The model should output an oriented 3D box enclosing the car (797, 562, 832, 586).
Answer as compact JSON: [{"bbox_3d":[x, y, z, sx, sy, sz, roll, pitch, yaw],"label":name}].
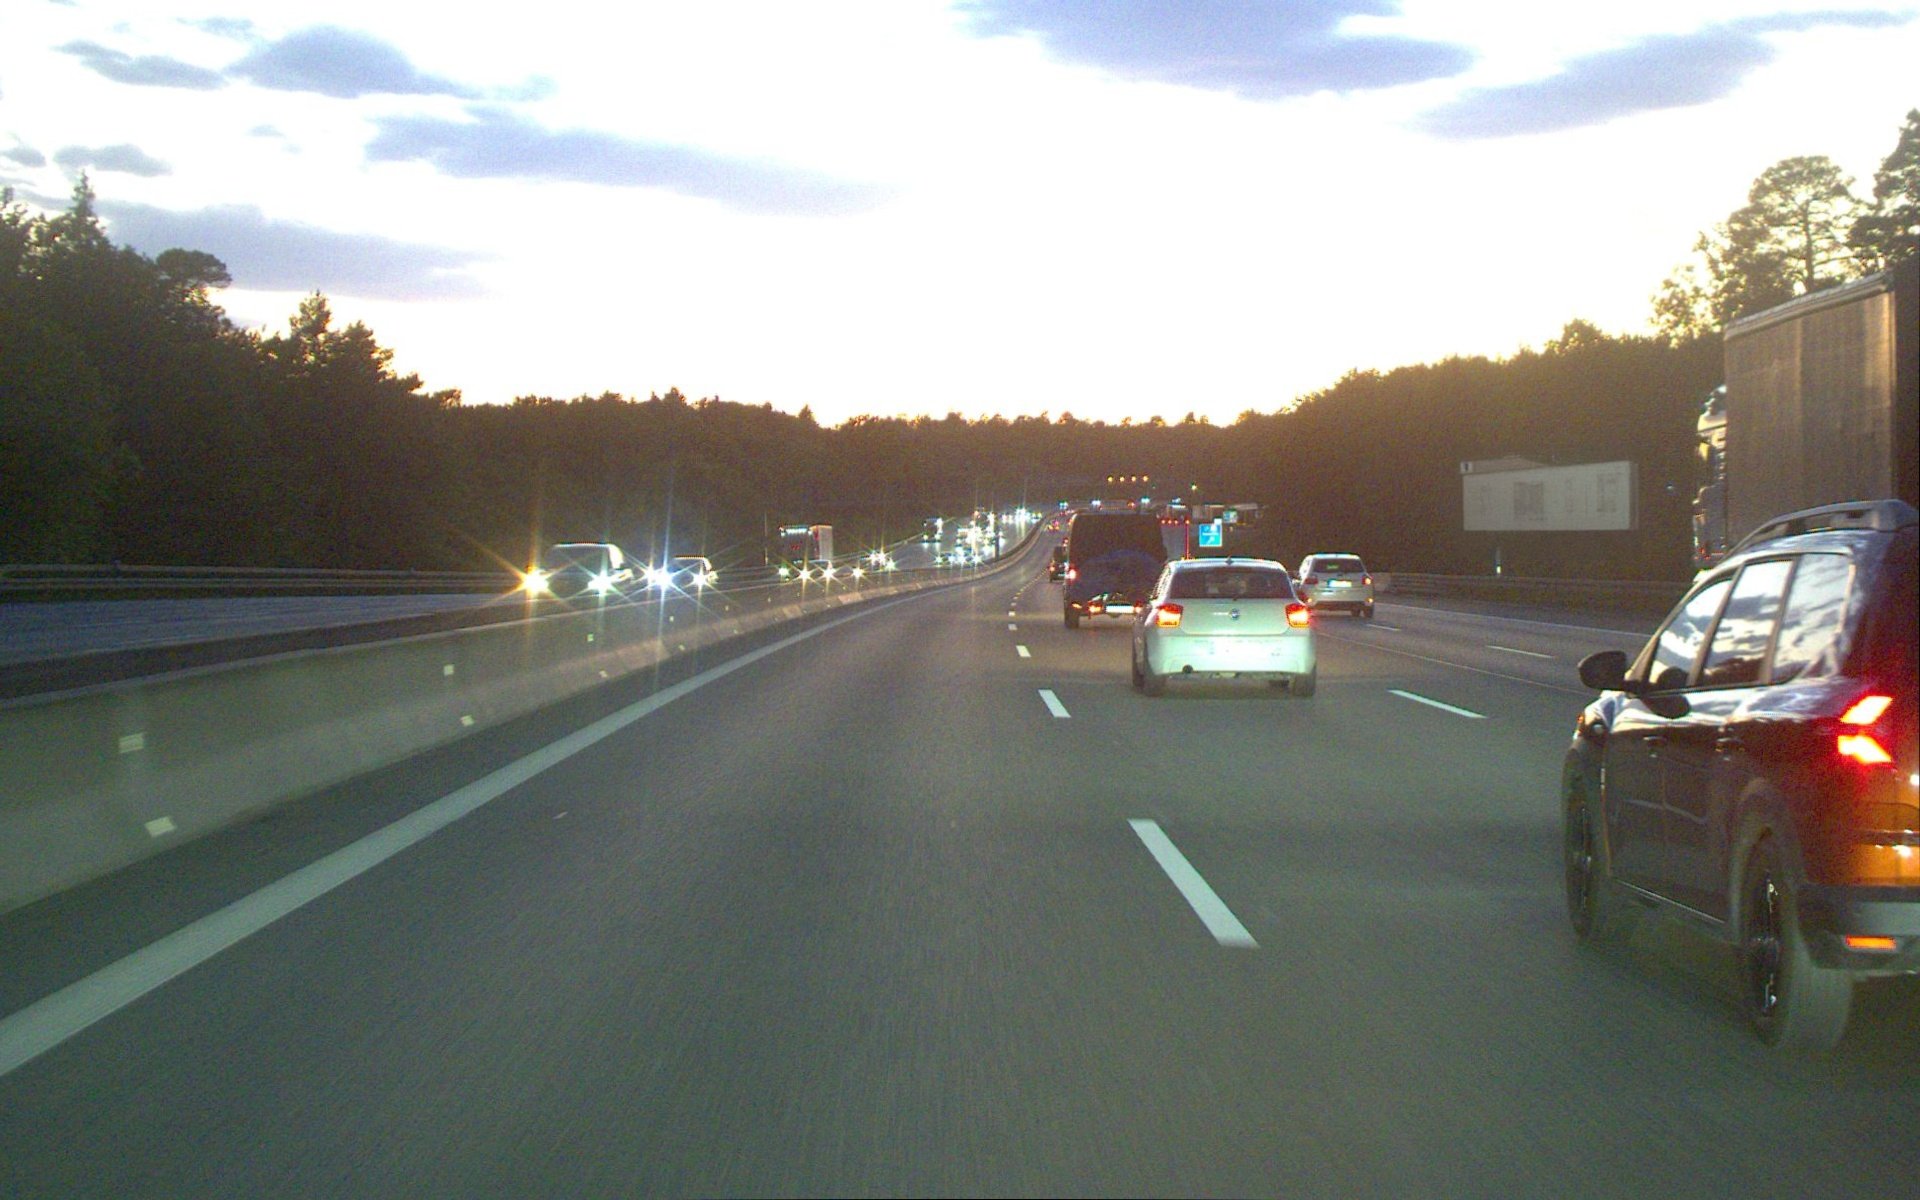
[{"bbox_3d":[-8.576,-1.549,203.468,1.776,1.396,4.939,1,1,1],"label":"car"}]

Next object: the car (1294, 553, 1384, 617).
[{"bbox_3d":[9.232,-0.380,83.995,2.008,1.533,3.999,0,0,4],"label":"car"}]

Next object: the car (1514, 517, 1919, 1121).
[{"bbox_3d":[3.252,0.534,11.822,1.903,1.638,5.052,0,1,0],"label":"car"}]

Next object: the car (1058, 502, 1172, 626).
[{"bbox_3d":[3.192,-0.731,69.719,2.166,2.410,5.563,0,0,4],"label":"car"}]

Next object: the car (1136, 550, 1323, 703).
[{"bbox_3d":[2.839,0.237,36.346,1.859,1.437,3.720,0,2,4],"label":"car"}]

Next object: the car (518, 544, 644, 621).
[{"bbox_3d":[-8.357,-0.404,76.228,1.994,1.633,5.111,1,1,3],"label":"car"}]

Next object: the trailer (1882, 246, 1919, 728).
[{"bbox_3d":[9.514,-0.920,25.177,2.907,4.086,10.357,0,1,1],"label":"trailer"}]

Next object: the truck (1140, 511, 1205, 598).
[{"bbox_3d":[14.569,-3.084,236.815,4.149,5.836,14.295,0,0,2],"label":"truck"}]

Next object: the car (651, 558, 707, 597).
[{"bbox_3d":[-10.586,-0.854,129.898,1.755,1.424,5.363,1,1,-1],"label":"car"}]

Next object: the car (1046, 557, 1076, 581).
[{"bbox_3d":[6.681,-2.021,226.627,1.837,1.565,3.999,0,0,4],"label":"car"}]

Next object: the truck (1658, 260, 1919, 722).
[{"bbox_3d":[9.724,-1.007,35.815,2.885,4.086,10.831,0,1,1],"label":"truck"}]

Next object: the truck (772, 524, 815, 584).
[{"bbox_3d":[-11.608,-3.186,240.011,2.650,4.117,6.524,0,0,0],"label":"truck"}]
